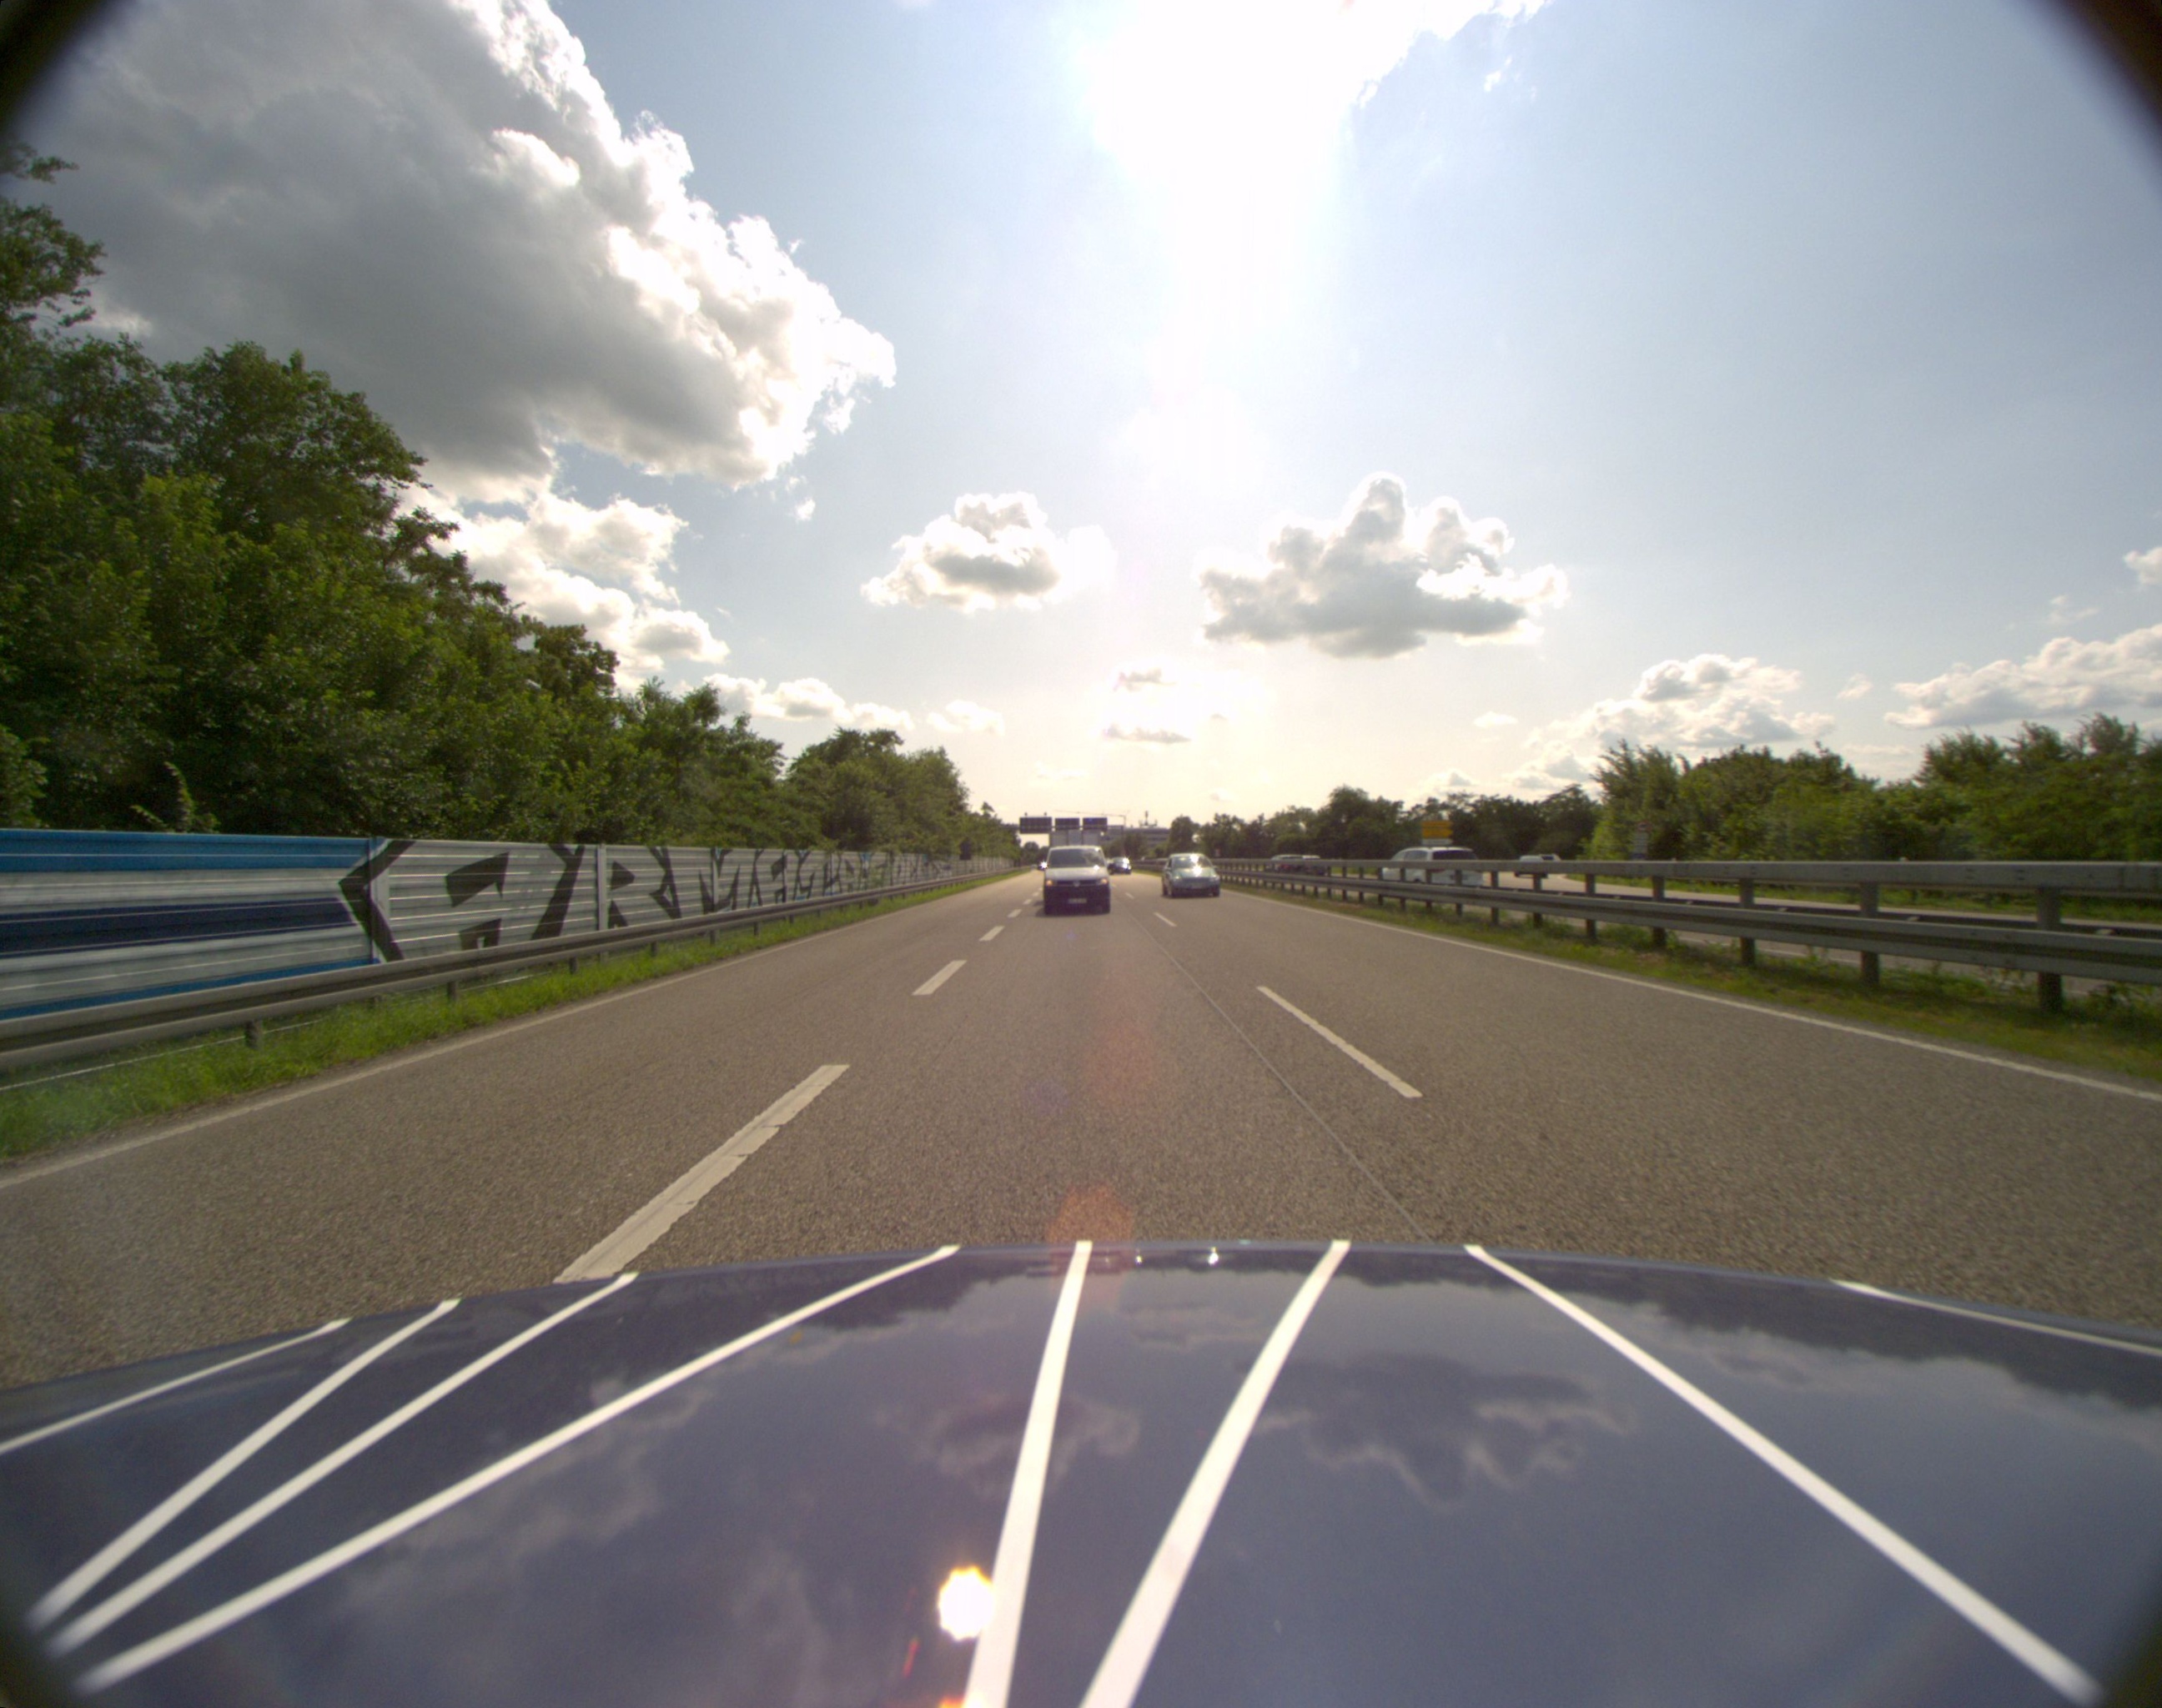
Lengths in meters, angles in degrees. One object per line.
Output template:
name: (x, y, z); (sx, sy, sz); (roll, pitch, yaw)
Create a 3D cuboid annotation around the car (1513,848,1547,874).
car: (30.032, 0.448, 50.918); (1.725, 1.518, 4.006); (-2, 1, 28)

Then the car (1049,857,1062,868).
car: (-3.799, 1.285, 114.278); (1.768, 1.404, 3.771); (-2, 1, 2)

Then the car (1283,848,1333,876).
car: (14.841, 0.500, 49.993); (1.966, 1.636, 4.550); (-2, 1, 1)

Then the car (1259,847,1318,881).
car: (11.142, 0.470, 41.131); (1.966, 1.636, 4.550); (-2, 1, 1)

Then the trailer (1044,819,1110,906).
trailer: (-0.082, 0.230, 27.365); (1.998, 2.723, 5.966); (-2, 1, 1)

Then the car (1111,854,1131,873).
car: (3.613, 0.804, 69.186); (1.716, 1.518, 4.592); (-2, 1, 2)

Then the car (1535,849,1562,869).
car: (39.617, 0.399, 64.331); (1.725, 1.518, 4.007); (-2, 1, 35)

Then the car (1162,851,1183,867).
car: (10.605, 0.571, 88.227); (1.966, 1.636, 4.550); (-2, 1, 1)

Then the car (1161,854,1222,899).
car: (4.089, 0.801, 28.651); (1.752, 1.522, 4.000); (-1, 0, 1)

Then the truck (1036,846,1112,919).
truck: (-0.145, 0.754, 22.353); (2.008, 1.905, 4.000); (-1, 0, 1)

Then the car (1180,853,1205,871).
car: (11.486, 0.812, 78.698); (1.966, 1.636, 4.550); (-2, 1, 1)

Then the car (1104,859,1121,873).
car: (3.504, 1.342, 84.860); (1.625, 1.404, 3.770); (-2, 1, -1)

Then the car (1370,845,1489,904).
car: (10.865, 0.575, 24.043); (1.692, 1.636, 4.268); (-2, 1, -1)
